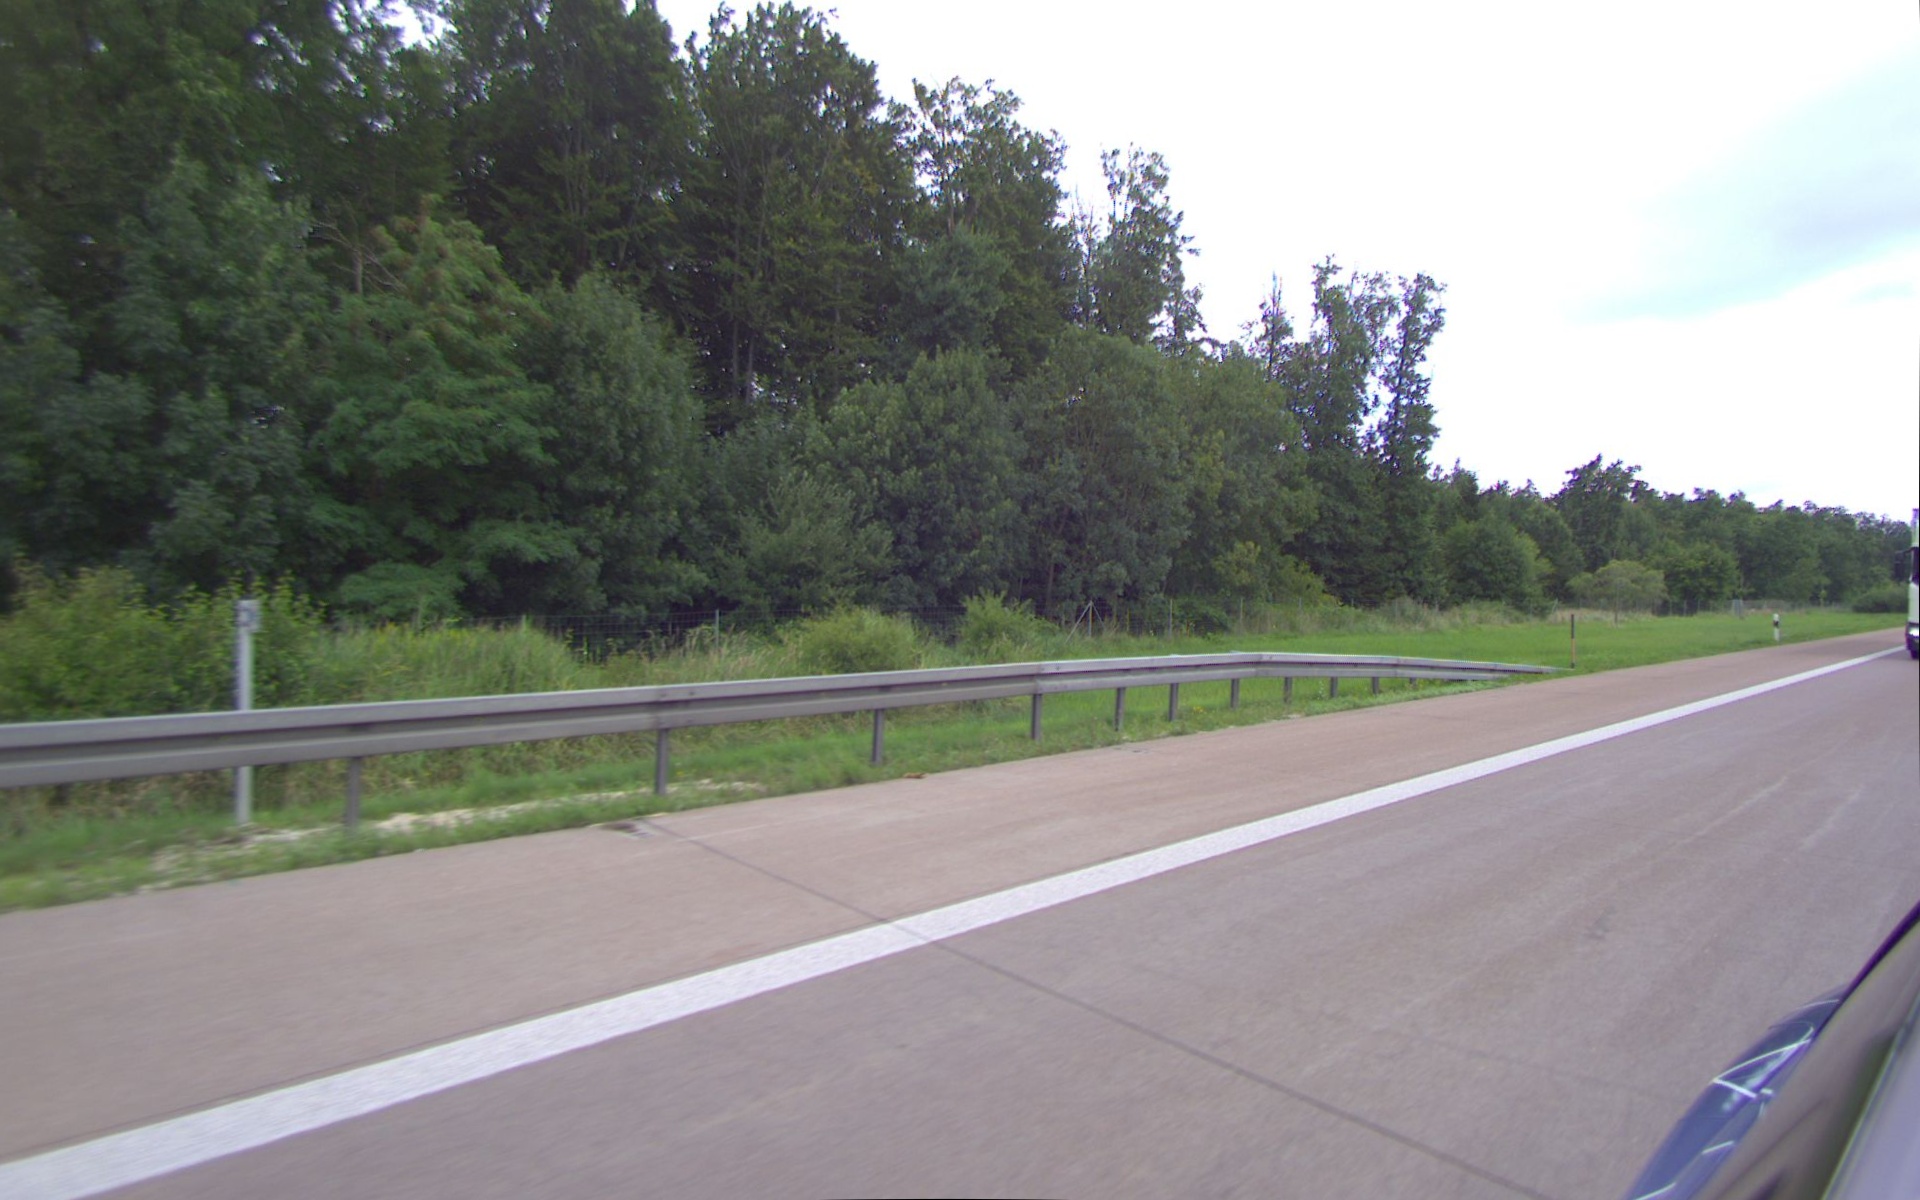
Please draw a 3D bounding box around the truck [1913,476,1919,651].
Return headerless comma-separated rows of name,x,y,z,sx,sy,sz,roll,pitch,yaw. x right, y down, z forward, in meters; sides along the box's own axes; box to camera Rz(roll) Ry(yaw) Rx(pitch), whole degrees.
truck,26.602,-0.896,25.825,5.243,4.348,2.925,0,1,-42
